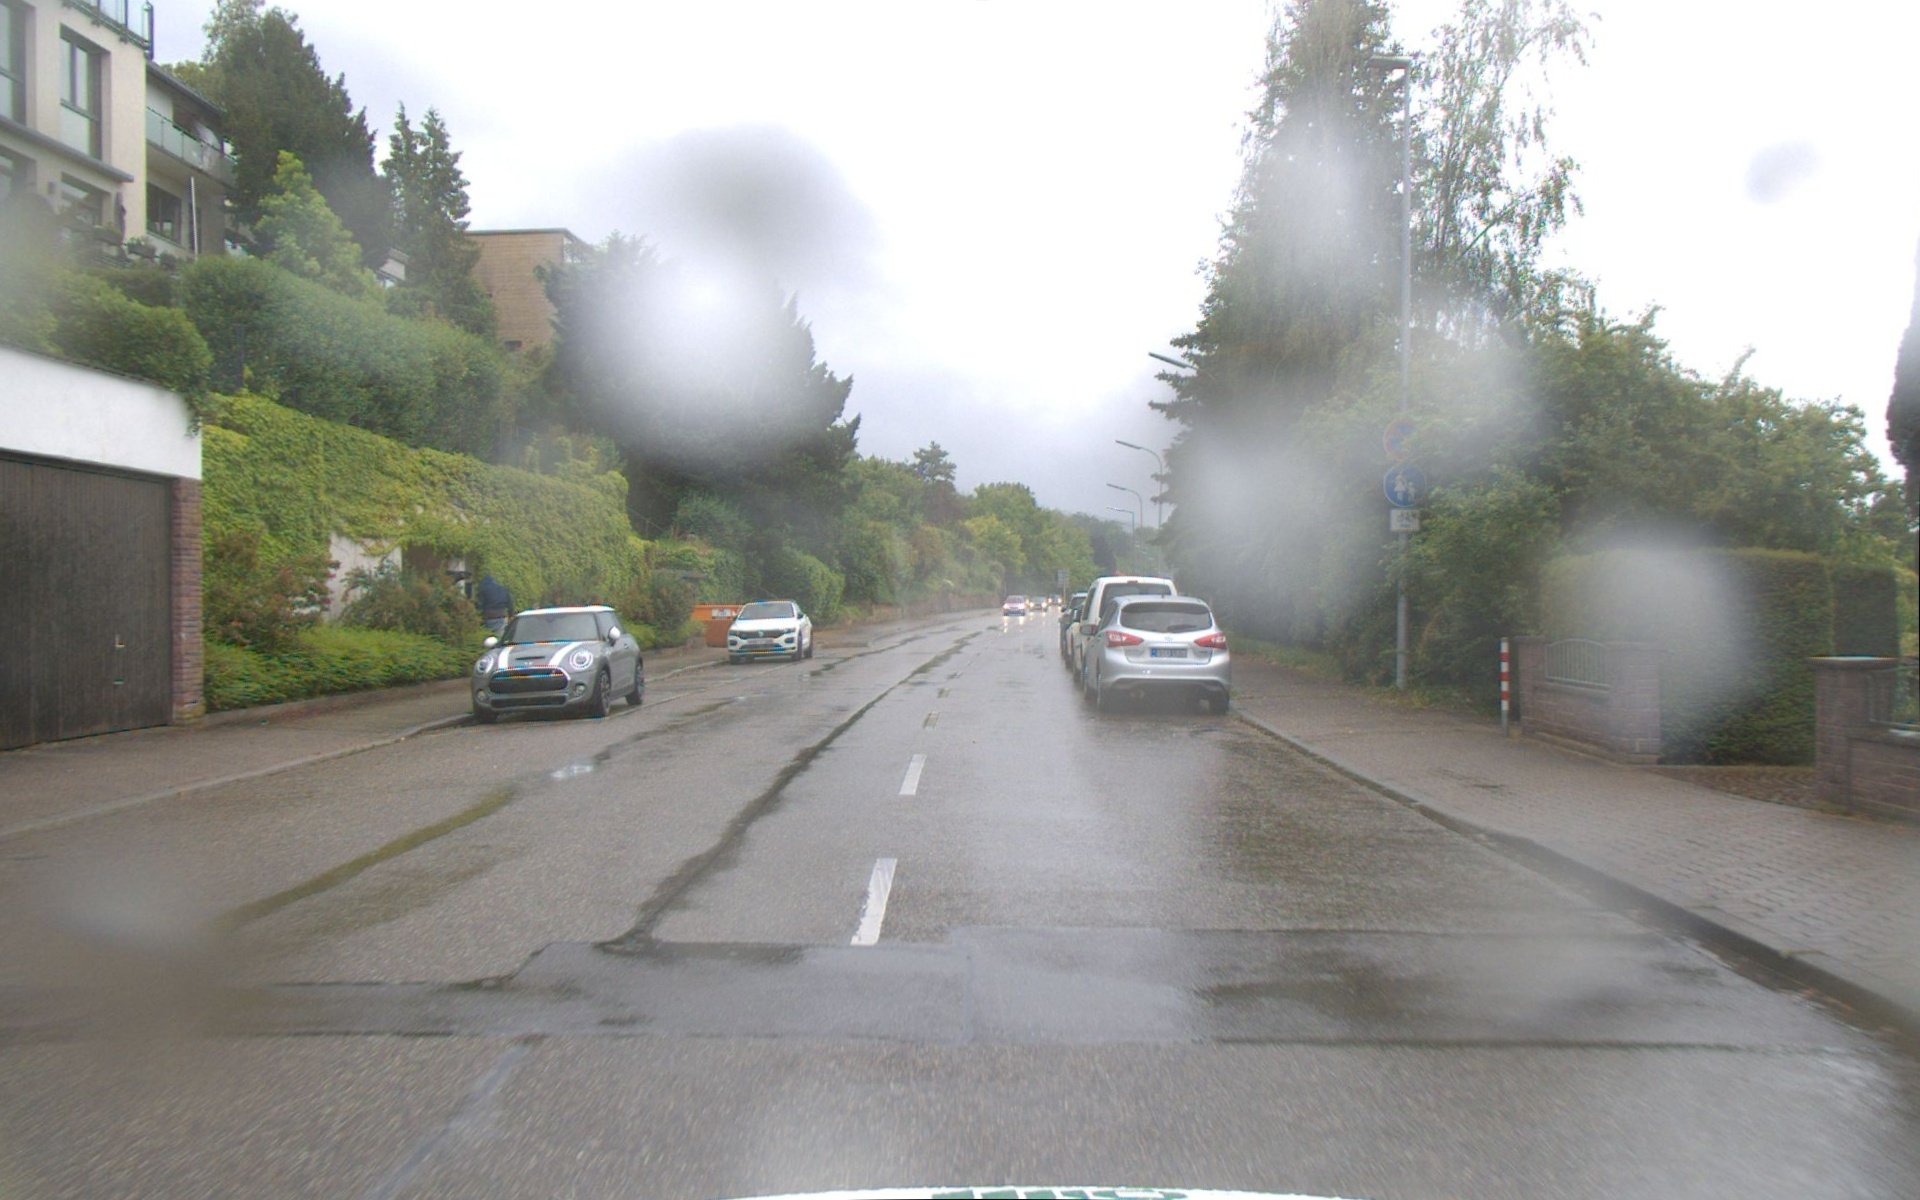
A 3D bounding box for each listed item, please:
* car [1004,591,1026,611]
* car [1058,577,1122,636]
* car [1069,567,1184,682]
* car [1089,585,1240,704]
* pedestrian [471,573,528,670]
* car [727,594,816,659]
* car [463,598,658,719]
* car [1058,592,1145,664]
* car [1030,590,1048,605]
[{"bbox_3d":[4.248,0.102,128.708,1.628,1.486,3.662,0,0,0],"label":"car"},{"bbox_3d":[3.868,0.185,49.632,1.777,1.674,4.397,0,0,3],"label":"car"},{"bbox_3d":[2.806,0.400,28.605,1.747,1.822,4.362,0,0,3],"label":"car"},{"bbox_3d":[2.748,0.570,23.044,1.752,1.485,4.310,0,0,3],"label":"car"},{"bbox_3d":[-9.343,0.435,33.576,0.824,1.913,0.902,1,-1,4],"label":"pedestrian"},{"bbox_3d":[-4.683,0.640,41.612,1.720,1.524,4.220,-1,0,0],"label":"car"},{"bbox_3d":[-5.317,0.722,22.492,1.720,1.427,3.769,-3,0,-1],"label":"car"},{"bbox_3d":[2.963,0.566,35.279,1.673,1.428,4.205,0,0,3],"label":"car"},{"bbox_3d":[7.504,-0.203,156.790,1.620,1.375,3.989,0,0,3],"label":"car"}]
